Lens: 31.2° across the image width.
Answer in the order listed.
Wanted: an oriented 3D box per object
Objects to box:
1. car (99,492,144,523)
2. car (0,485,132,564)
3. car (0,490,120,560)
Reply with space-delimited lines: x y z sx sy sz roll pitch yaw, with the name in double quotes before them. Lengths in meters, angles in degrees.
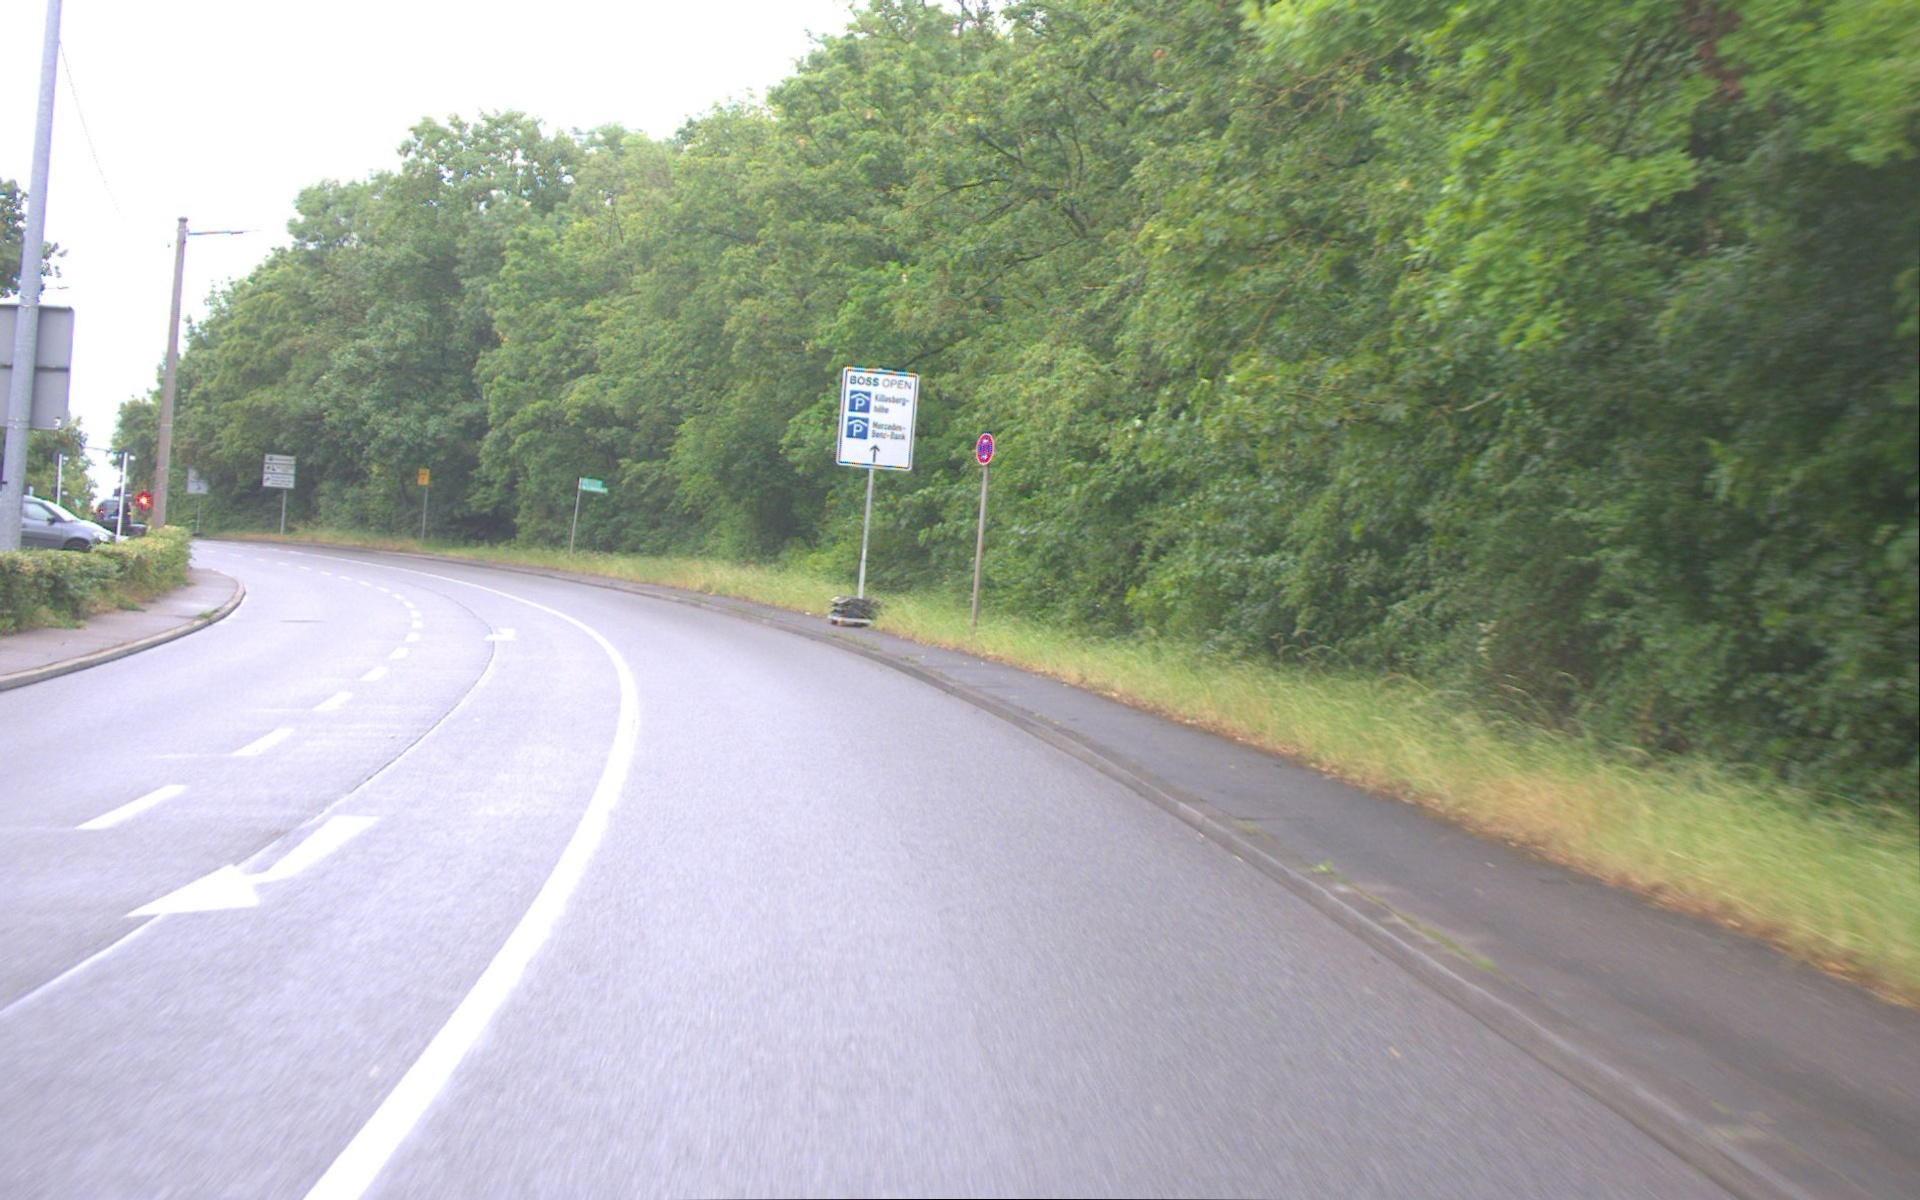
"car" -43.367 -4.777 177.846 1.934 1.493 4.319 2 1 -17
"car" -21.846 -1.816 81.047 4.290 1.702 2.001 3 1 -9
"car" -23.095 -1.912 86.566 3.643 1.586 1.852 3 1 -16
